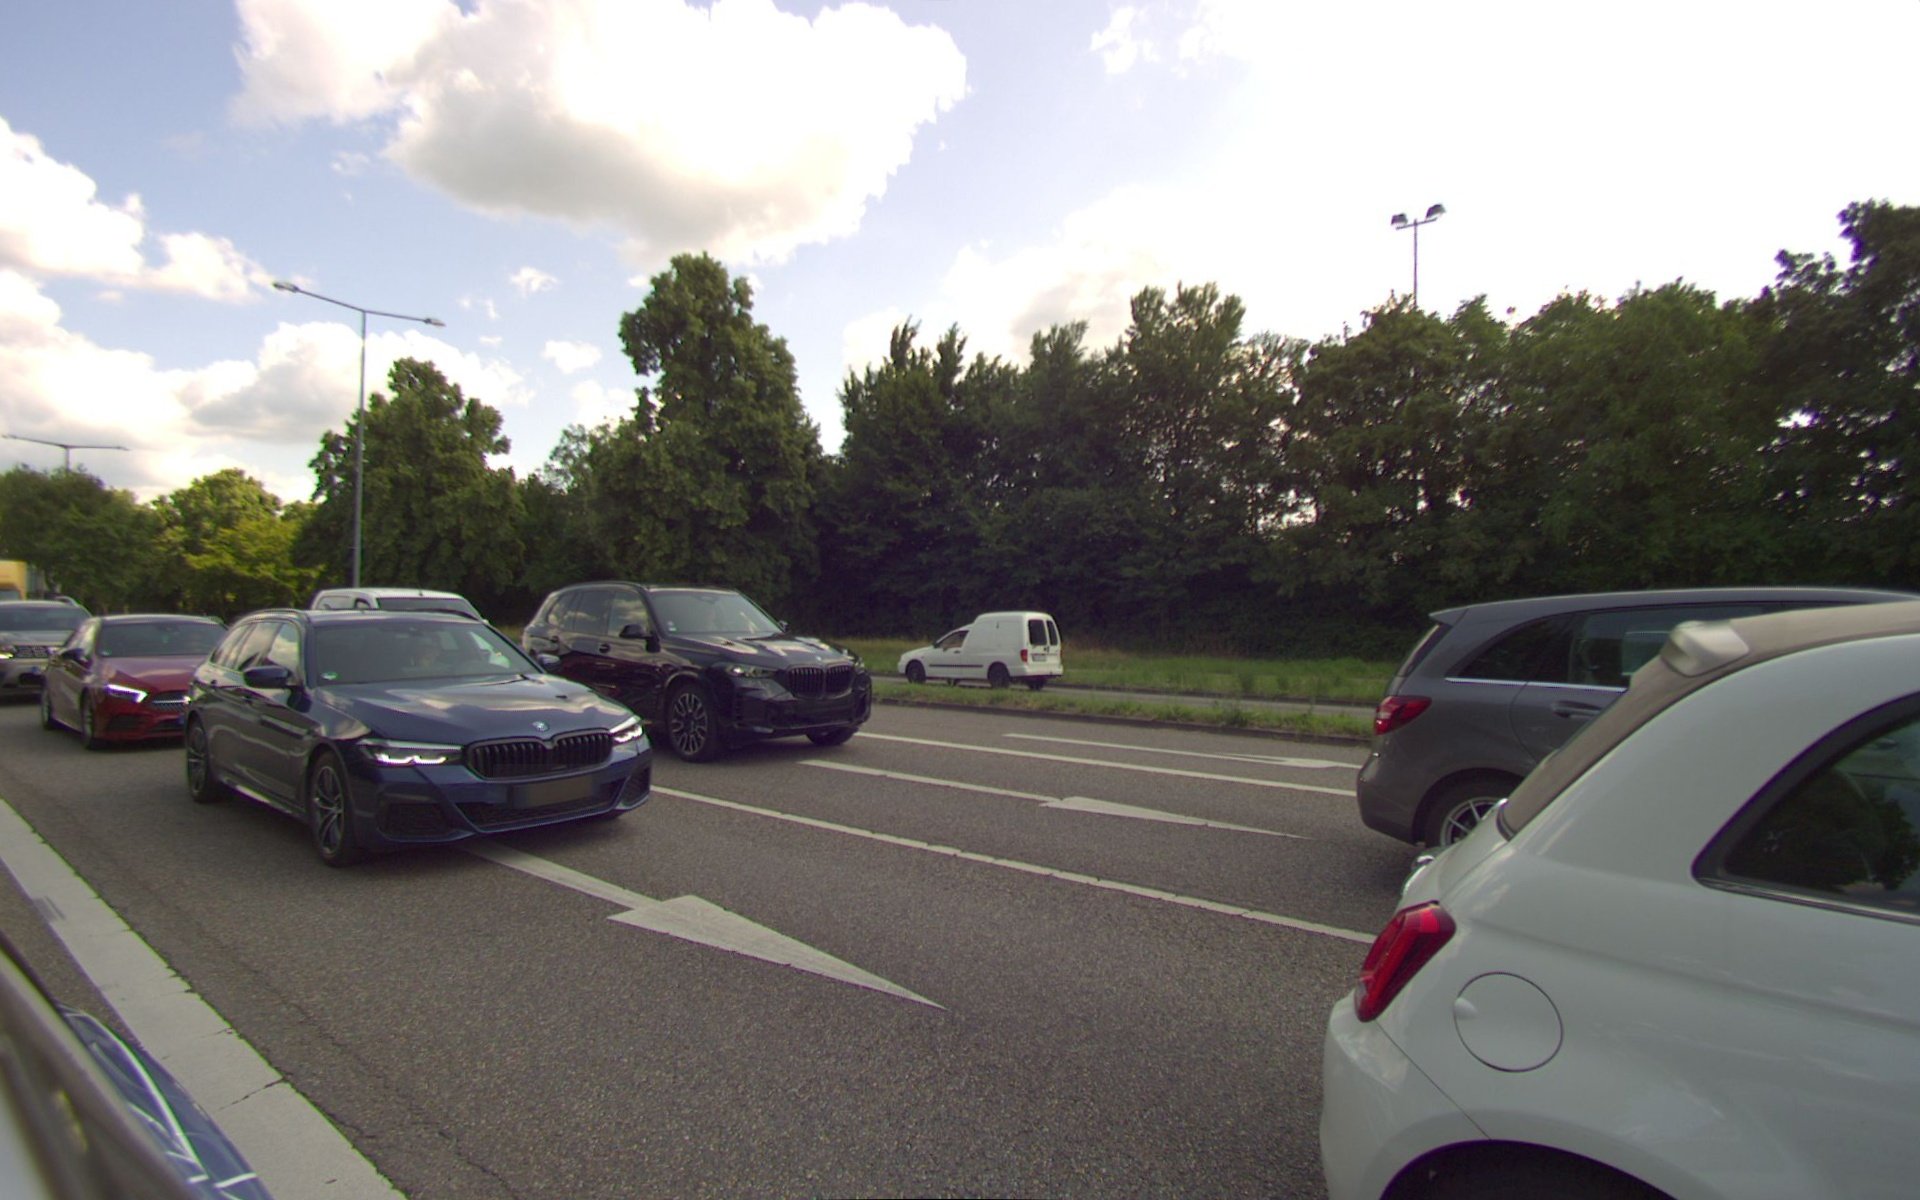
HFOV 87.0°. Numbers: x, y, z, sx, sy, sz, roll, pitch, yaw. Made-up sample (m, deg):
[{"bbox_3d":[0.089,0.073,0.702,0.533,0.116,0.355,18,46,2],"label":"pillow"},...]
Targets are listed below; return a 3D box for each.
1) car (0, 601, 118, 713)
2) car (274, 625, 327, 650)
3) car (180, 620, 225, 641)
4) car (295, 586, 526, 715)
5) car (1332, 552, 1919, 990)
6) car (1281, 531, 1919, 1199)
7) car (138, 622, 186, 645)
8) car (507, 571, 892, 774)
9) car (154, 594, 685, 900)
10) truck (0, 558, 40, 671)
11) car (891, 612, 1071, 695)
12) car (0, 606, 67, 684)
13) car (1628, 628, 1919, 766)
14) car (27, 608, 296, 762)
[{"bbox_3d":[-15.172,0.830,16.394,4.173,1.624,1.705,0,-1,41],"label":"car"},{"bbox_3d":[-37.184,2.101,57.015,3.655,1.381,1.447,-1,-3,39],"label":"car"},{"bbox_3d":[-53.484,2.143,71.433,4.236,1.397,1.650,0,-3,41],"label":"car"},{"bbox_3d":[-9.023,0.721,16.433,4.728,1.812,1.747,0,-1,41],"label":"car"},{"bbox_3d":[4.105,0.646,4.430,4.358,1.631,1.681,0,-1,41],"label":"car"},{"bbox_3d":[2.402,0.663,1.207,3.538,1.508,1.553,0,0,41],"label":"car"},{"bbox_3d":[-51.465,2.130,65.212,4.236,1.435,1.650,-1,-3,41],"label":"car"},{"bbox_3d":[-2.978,0.643,10.981,4.547,1.759,1.794,0,-1,41],"label":"car"},{"bbox_3d":[-4.138,0.729,7.293,4.870,1.508,1.778,0,0,41],"label":"car"},{"bbox_3d":[-27.210,0.405,27.613,6.963,2.881,2.333,-1,0,41],"label":"truck"},{"bbox_3d":[0.441,1.215,24.300,4.252,1.807,1.653,0,-1,41],"label":"car"},{"bbox_3d":[-20.587,0.910,21.676,3.892,1.542,1.705,0,0,41],"label":"car"},{"bbox_3d":[9.608,1.022,11.024,3.693,1.318,1.734,0,-3,42],"label":"car"},{"bbox_3d":[-9.571,0.846,11.982,4.533,1.473,1.705,-1,0,41],"label":"car"}]
